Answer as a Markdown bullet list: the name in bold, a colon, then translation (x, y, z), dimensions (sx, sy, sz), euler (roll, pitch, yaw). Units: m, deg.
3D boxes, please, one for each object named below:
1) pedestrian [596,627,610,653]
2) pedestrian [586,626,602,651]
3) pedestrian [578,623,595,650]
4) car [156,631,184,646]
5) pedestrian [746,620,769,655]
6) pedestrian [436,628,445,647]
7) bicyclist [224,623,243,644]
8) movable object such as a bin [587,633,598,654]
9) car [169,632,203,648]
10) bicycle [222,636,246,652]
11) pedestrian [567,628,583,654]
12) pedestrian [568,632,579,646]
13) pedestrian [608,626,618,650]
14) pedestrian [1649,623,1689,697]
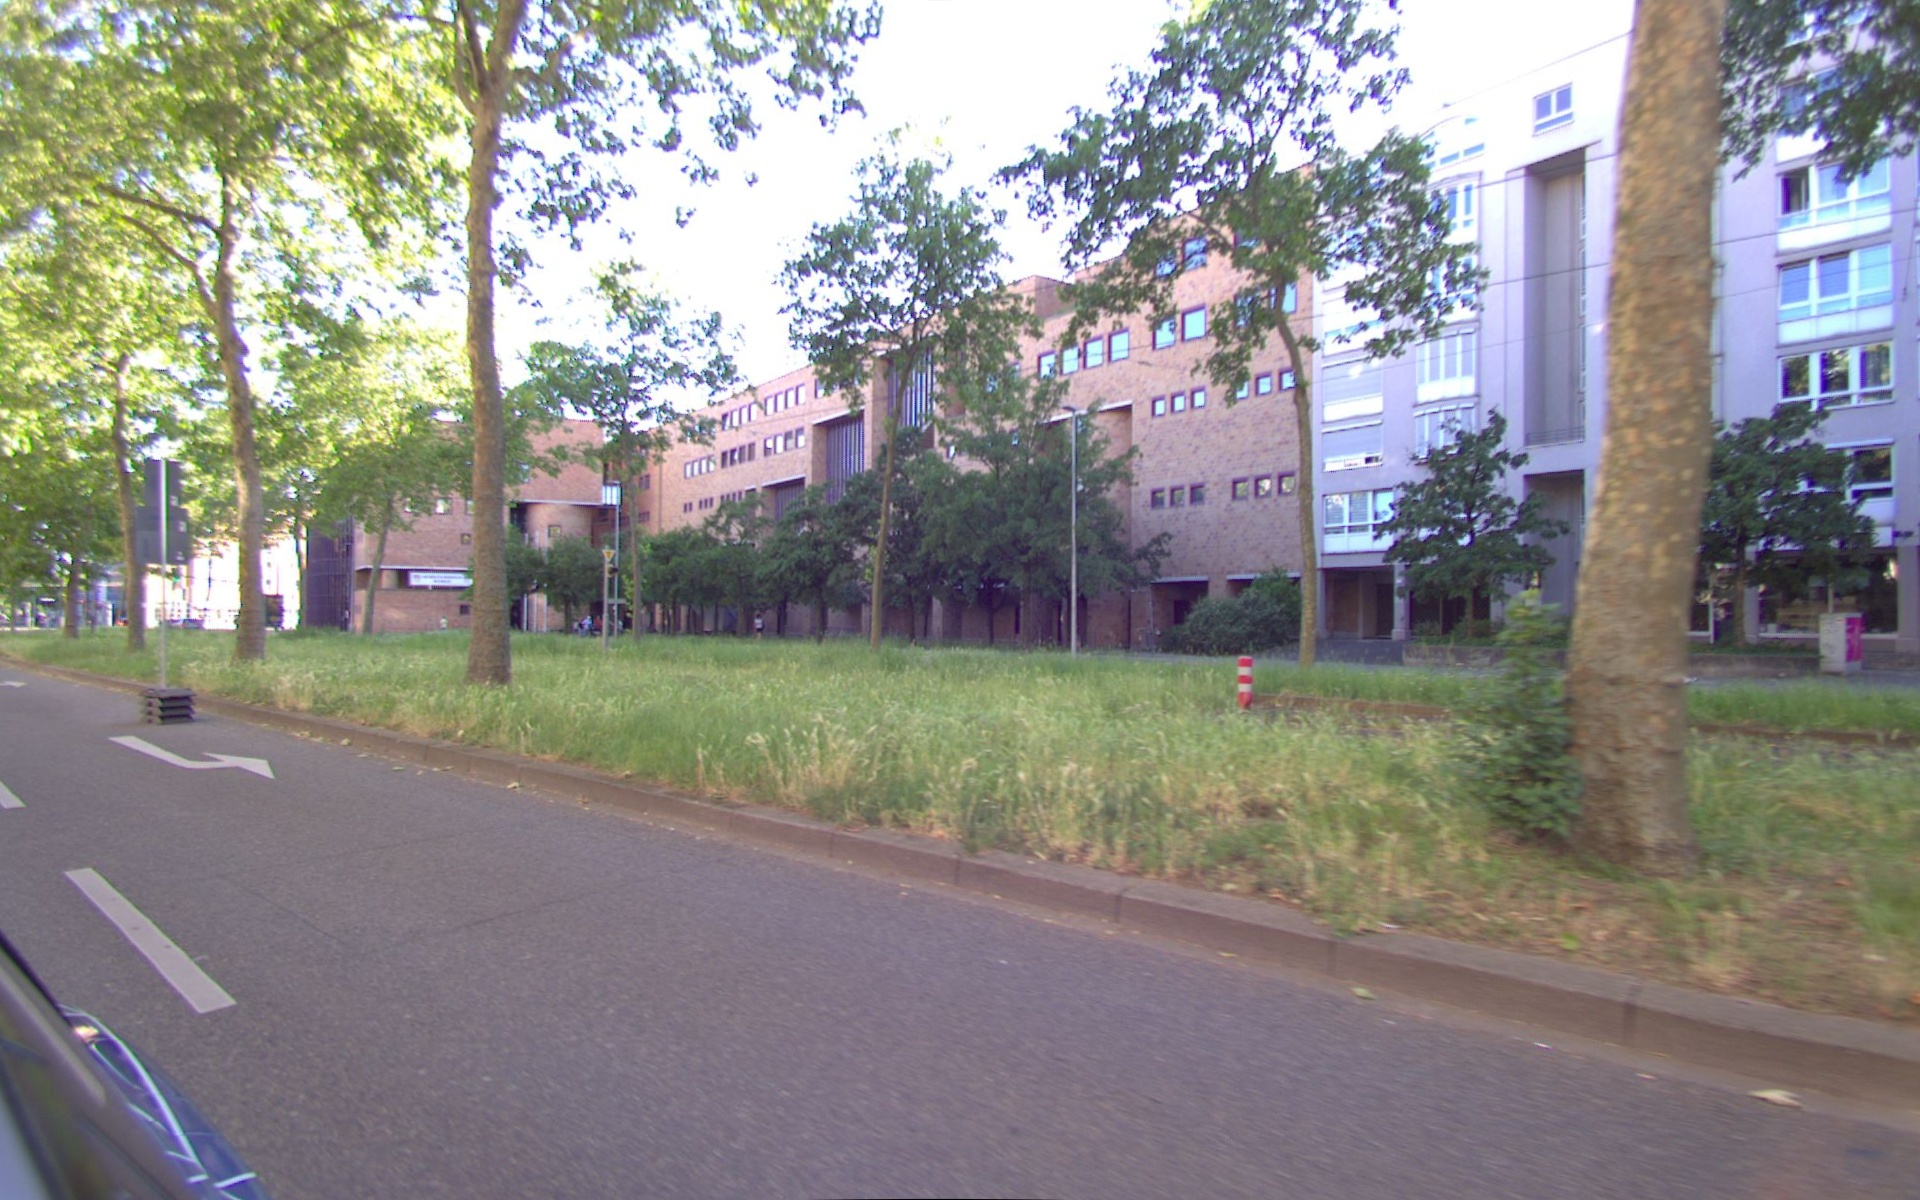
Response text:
- **pedestrian**: translation (-22.997, 2.560, 65.145), dimensions (0.596, 1.692, 0.604), euler (-2, -3, 41)
- **pedestrian**: translation (-23.386, 2.463, 64.680), dimensions (0.756, 1.629, 0.657), euler (-2, -3, 41)
- **pedestrian**: translation (-23.662, 2.316, 64.120), dimensions (0.796, 1.735, 0.657), euler (-2, -3, 41)
- **car**: translation (-77.744, 3.758, 99.603), dimensions (3.219, 1.440, 1.596), euler (-2, -3, 41)
- **pedestrian**: translation (-10.839, 2.003, 54.147), dimensions (0.896, 1.845, 0.819), euler (-1, -2, 25)
- **pedestrian**: translation (-41.171, 2.975, 80.142), dimensions (0.652, 1.555, 0.412), euler (-2, -3, 41)
- **bicyclist**: translation (-55.009, 2.568, 76.651), dimensions (1.209, 1.583, 0.931), euler (-2, -3, 42)
- **movable object such as a bin**: translation (-23.089, 2.746, 63.559), dimensions (0.756, 1.289, 0.352), euler (-2, -3, 41)
- **car**: translation (-73.263, 3.754, 95.782), dimensions (4.147, 1.440, 1.653), euler (-2, -3, 41)
- **bicycle**: translation (-54.957, 3.311, 76.598), dimensions (2.436, 1.134, 0.946), euler (-1, -2, 42)
- **pedestrian**: translation (-24.786, 2.640, 65.133), dimensions (0.756, 1.629, 0.657), euler (-2, -3, 41)
- **pedestrian**: translation (-33.847, 3.446, 88.657), dimensions (0.628, 1.207, 0.659), euler (-1, -2, 32)
- **pedestrian**: translation (-22.354, 2.445, 65.242), dimensions (0.477, 1.517, 0.464), euler (2, -3, -44)
- **pedestrian**: translation (17.038, 1.422, 24.320), dimensions (0.720, 1.753, 0.648), euler (2, -3, -45)
